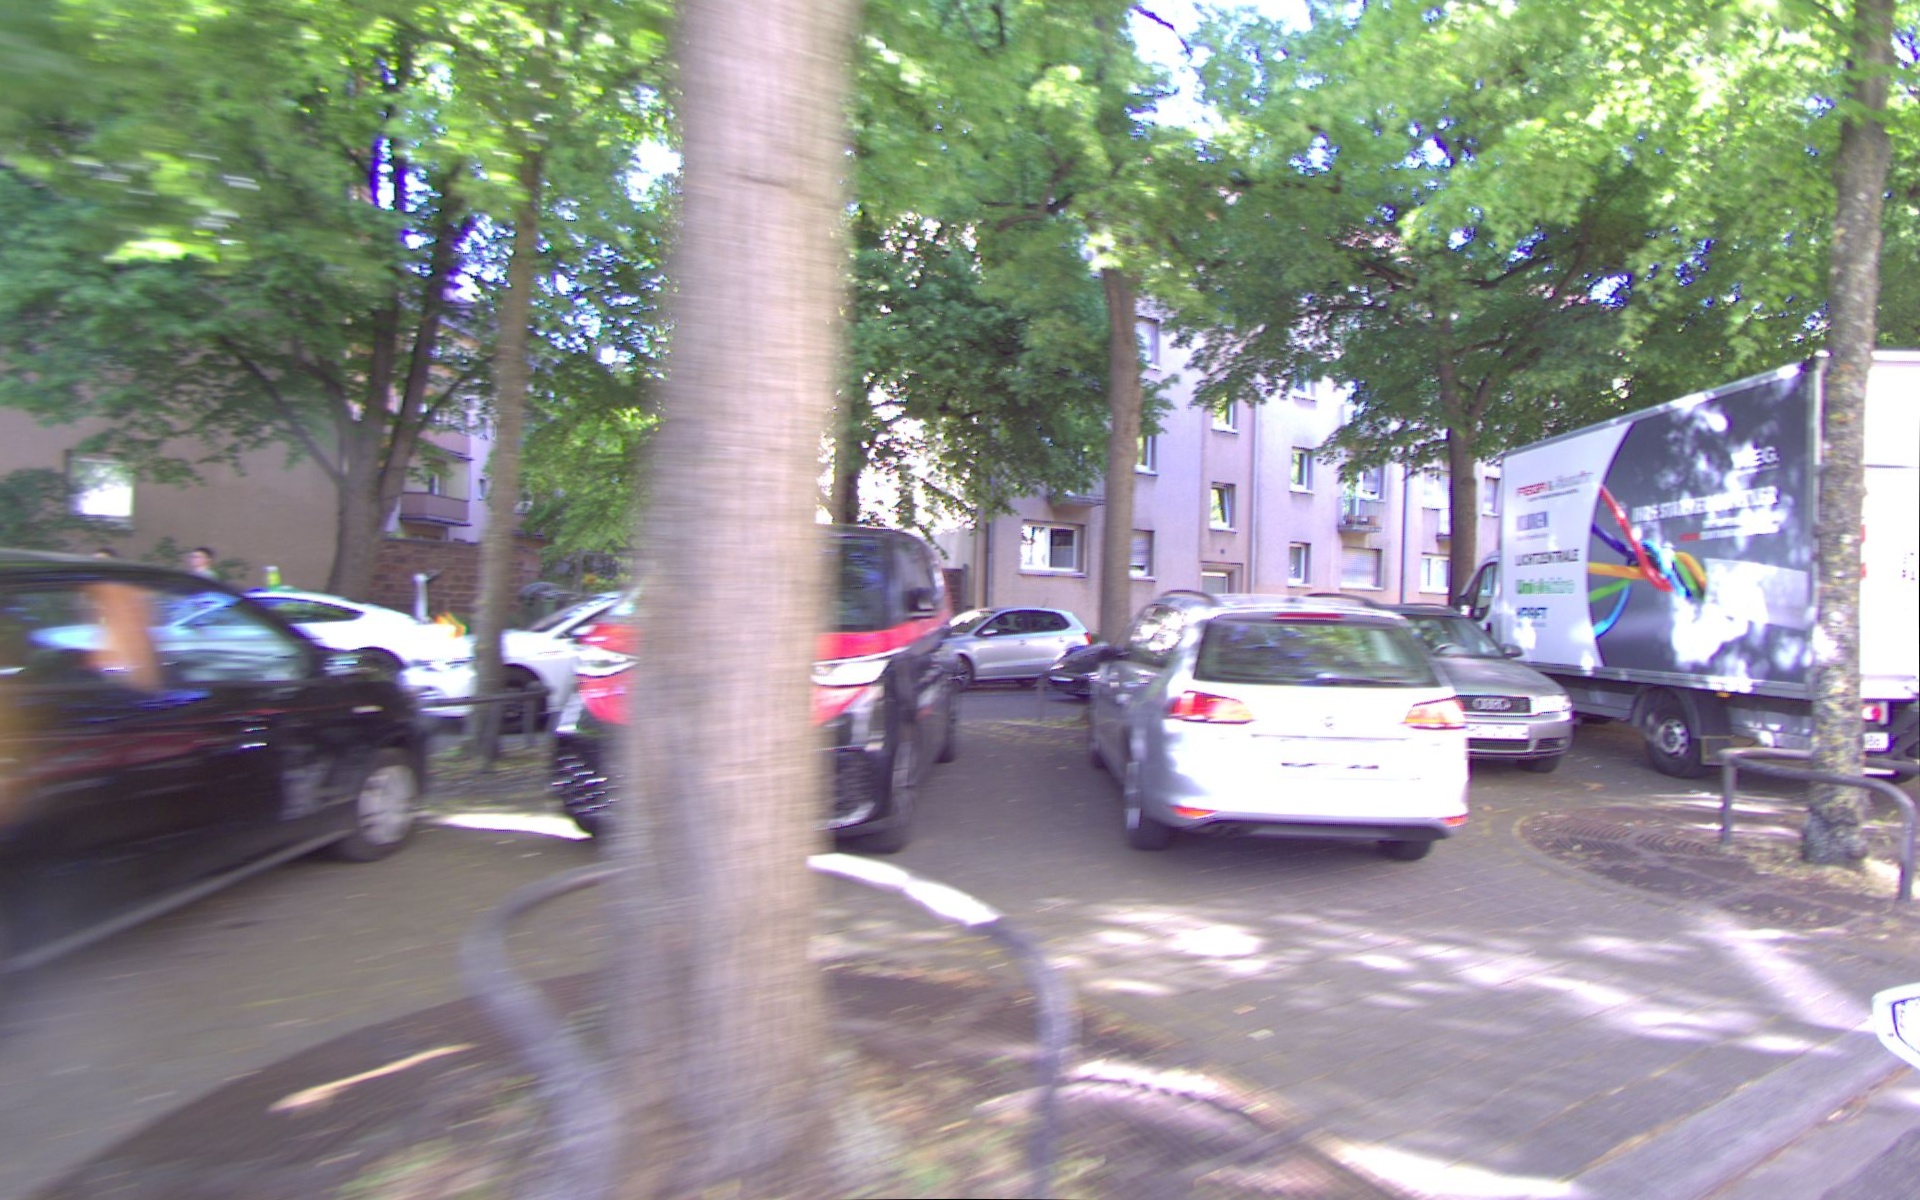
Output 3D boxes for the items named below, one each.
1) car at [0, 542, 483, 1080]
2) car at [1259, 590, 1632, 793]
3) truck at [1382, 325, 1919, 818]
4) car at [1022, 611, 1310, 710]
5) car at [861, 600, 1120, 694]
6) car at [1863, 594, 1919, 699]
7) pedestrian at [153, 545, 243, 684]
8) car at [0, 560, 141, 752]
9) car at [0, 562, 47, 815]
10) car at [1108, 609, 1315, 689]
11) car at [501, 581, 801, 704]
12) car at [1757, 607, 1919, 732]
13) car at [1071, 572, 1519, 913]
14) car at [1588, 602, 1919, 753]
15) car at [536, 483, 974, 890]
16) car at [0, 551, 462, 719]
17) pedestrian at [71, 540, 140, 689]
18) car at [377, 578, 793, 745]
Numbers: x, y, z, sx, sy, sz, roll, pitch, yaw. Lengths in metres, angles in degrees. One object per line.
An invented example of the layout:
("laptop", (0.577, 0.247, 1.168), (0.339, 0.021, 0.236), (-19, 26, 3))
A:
("car", (-3.559, 0.564, 3.825), (1.727, 1.500, 3.822), (2, 0, -2))
("car", (4.439, 0.715, 10.029), (1.777, 1.527, 4.345), (2, 0, 3))
("truck", (7.189, -0.144, 10.490), (2.496, 3.337, 7.326), (1, 0, 1))
("car", (3.197, 0.872, 15.236), (4.368, 1.311, 1.753), (2, -2, -34))
("car", (0.582, 0.794, 17.681), (4.293, 1.454, 1.755), (2, 0, -31))
("car", (18.432, 0.894, 16.950), (2.042, 1.890, 4.519), (2, 0, -5))
("pedestrian", (-9.940, 0.190, 13.112), (0.727, 1.759, 0.540), (1, 0, 2))
("car", (-8.981, 0.393, 7.847), (3.914, 1.506, 1.740), (2, 0, -38))
("car", (-6.164, 0.488, 3.957), (1.787, 1.441, 3.945), (2, 0, -6))
("car", (5.115, 0.945, 20.180), (4.304, 1.454, 1.751), (2, -2, -38))
("car", (-4.497, 0.586, 14.739), (3.903, 1.590, 1.745), (2, 0, -31))
("car", (12.876, 0.911, 13.096), (1.699, 1.526, 4.108), (2, 0, 1))
("car", (1.791, 0.657, 6.855), (1.777, 1.527, 4.345), (2, 0, 3))
("car", (10.061, 0.842, 12.639), (1.812, 1.523, 4.000), (2, 0, 1))
("car", (-0.970, 0.408, 7.091), (1.897, 1.898, 4.504), (2, 0, 3))
("car", (-8.243, 0.380, 11.697), (4.201, 1.662, 1.744), (2, 0, -33))
("pedestrian", (-10.458, 0.172, 12.307), (0.534, 1.759, 0.735), (1, 0, -34))
("car", (-3.992, 0.590, 10.974), (3.914, 1.506, 1.740), (2, 0, -38))
